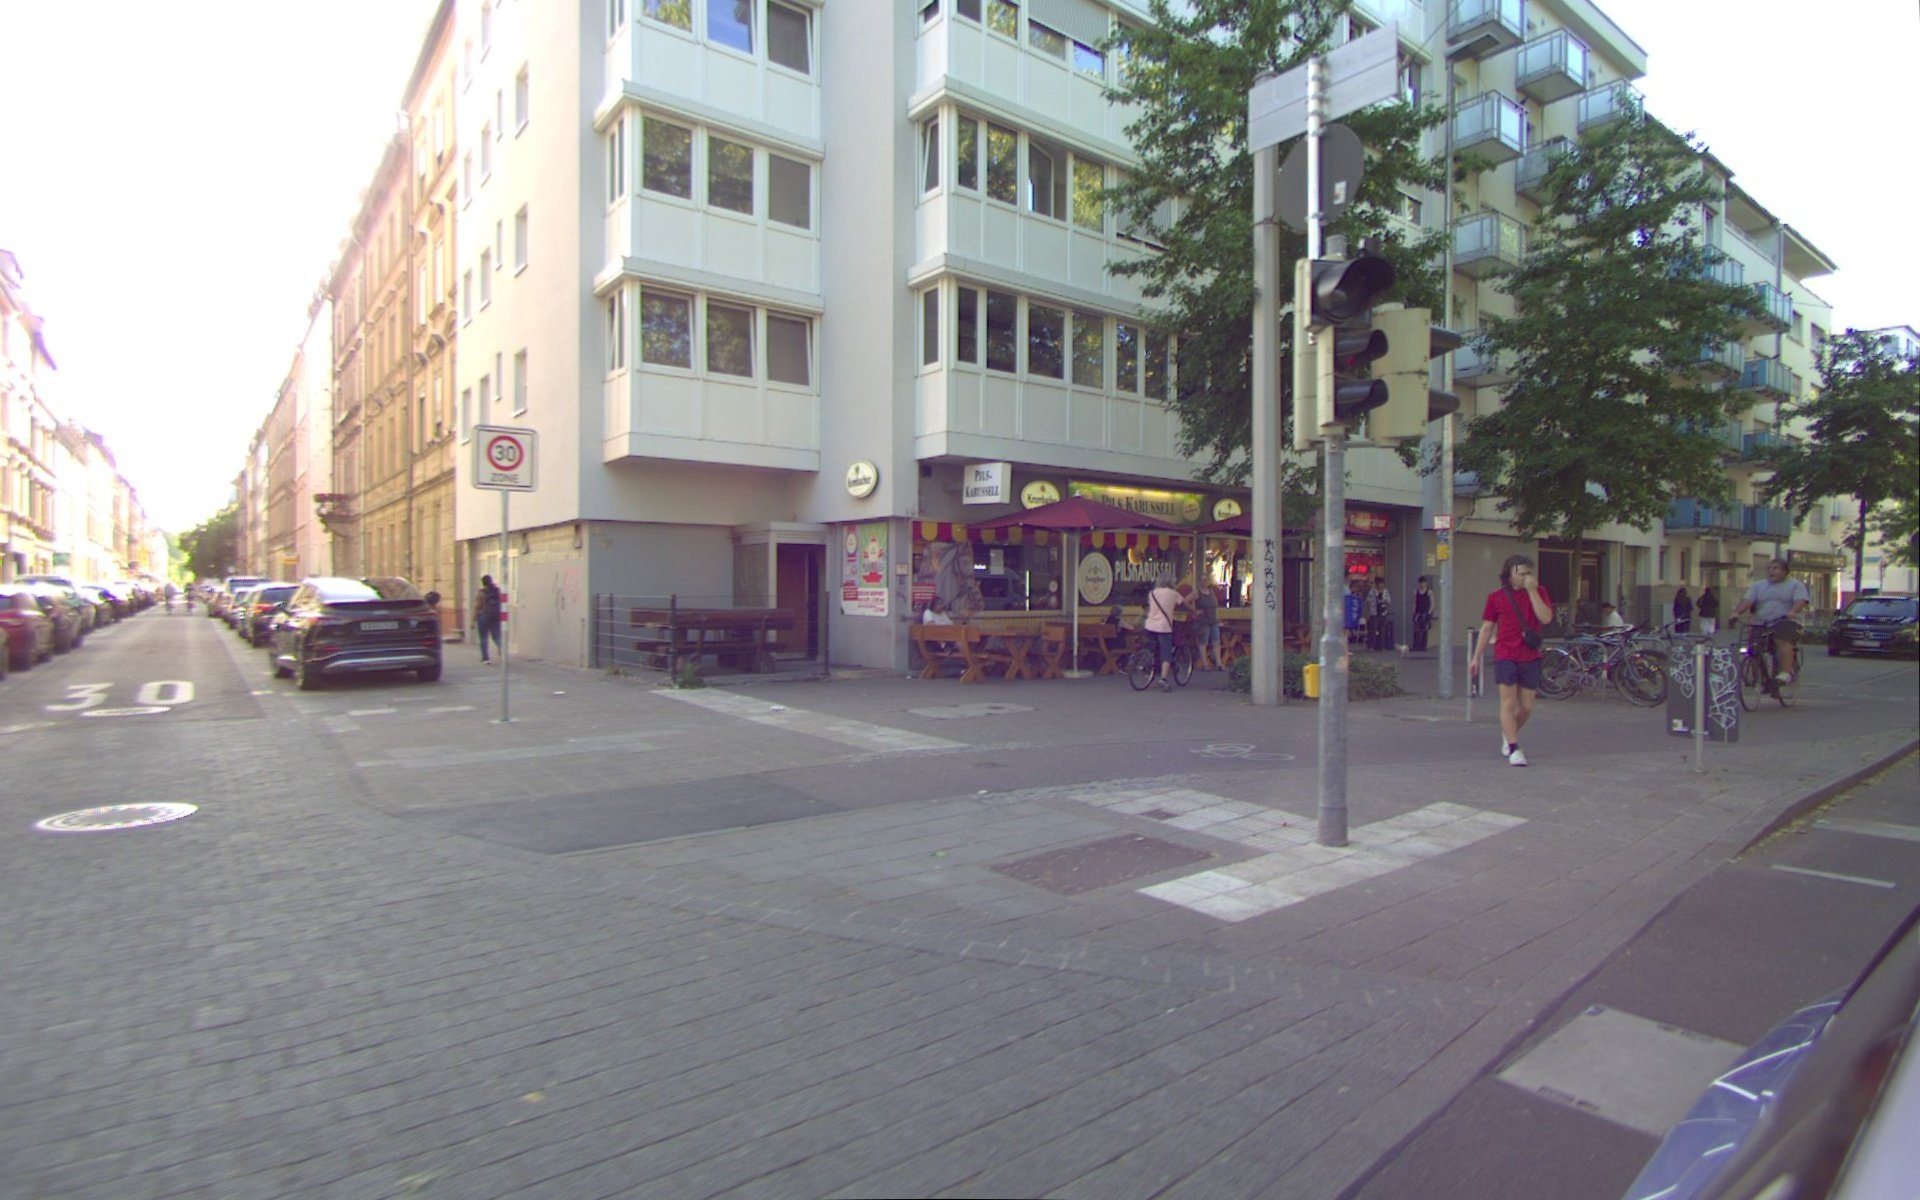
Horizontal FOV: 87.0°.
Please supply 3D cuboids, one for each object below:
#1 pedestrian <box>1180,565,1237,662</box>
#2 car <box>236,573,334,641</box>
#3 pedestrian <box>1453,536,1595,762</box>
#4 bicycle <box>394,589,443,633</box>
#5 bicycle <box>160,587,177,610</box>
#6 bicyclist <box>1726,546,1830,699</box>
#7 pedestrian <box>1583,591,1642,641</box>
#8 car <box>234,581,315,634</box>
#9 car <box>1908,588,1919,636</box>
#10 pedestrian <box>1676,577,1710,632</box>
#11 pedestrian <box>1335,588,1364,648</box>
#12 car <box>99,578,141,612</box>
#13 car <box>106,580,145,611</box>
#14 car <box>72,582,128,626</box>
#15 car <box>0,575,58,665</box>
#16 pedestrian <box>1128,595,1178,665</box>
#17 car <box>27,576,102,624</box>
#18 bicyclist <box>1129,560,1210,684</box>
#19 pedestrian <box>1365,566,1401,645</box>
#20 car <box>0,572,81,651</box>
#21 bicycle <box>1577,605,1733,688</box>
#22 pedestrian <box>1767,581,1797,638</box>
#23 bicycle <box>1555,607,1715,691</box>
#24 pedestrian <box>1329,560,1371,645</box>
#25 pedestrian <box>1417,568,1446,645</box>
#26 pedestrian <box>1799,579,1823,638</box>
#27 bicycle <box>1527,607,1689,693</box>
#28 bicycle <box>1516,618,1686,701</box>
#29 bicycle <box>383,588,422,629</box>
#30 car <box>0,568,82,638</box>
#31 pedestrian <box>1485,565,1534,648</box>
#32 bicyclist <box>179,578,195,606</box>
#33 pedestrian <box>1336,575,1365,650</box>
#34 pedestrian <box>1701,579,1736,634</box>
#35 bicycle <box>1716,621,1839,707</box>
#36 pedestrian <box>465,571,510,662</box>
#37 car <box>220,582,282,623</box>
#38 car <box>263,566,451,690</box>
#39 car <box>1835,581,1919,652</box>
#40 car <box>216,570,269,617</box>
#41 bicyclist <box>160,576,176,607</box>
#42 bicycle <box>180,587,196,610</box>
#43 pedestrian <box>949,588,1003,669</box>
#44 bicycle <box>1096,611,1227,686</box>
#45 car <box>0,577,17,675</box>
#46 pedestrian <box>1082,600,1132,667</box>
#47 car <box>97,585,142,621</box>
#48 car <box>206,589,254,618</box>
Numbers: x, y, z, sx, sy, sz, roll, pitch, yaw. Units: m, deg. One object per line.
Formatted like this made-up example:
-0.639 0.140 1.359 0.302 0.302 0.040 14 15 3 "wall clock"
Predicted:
4.431 0.237 18.072 0.665 1.680 0.816 -1 0 -14 "pedestrian"
-17.160 0.126 25.749 1.927 1.575 4.001 -1 1 -34 "car"
4.748 0.387 8.603 0.867 1.780 1.041 -1 0 20 "pedestrian"
-14.417 0.286 26.926 0.756 1.134 2.387 -1 0 -38 "bicycle"
-43.684 -0.065 55.851 0.697 1.248 2.319 -1 0 -38 "bicycle"
10.387 0.264 12.846 1.079 1.854 0.769 -1 0 -38 "bicyclist"
14.048 0.341 21.799 0.996 1.040 0.652 -1 0 39 "pedestrian"
-20.075 0.209 29.701 1.829 1.436 4.000 -1 0 -34 "car"
32.430 0.404 33.100 3.821 1.500 1.626 0 3 -41 "car"
23.148 0.124 31.953 0.918 1.698 0.597 -1 3 -40 "pedestrian"
8.652 0.394 22.483 0.502 1.292 0.623 -1 0 15 "pedestrian"
-53.246 -0.309 64.226 1.964 2.039 3.995 -1 0 -39 "car"
-56.390 -0.270 68.439 1.964 2.039 3.995 -1 0 -39 "car"
-42.286 0.194 49.808 1.964 2.039 3.995 -1 0 -39 "car"
-17.889 0.360 18.646 1.677 1.528 3.995 -1 0 -39 "car"
3.374 0.521 17.703 0.512 1.190 0.660 -1 0 -40 "pedestrian"
-32.981 0.002 37.357 1.860 1.661 3.995 -1 0 -39 "car"
3.054 0.300 14.761 0.947 1.739 0.679 -1 0 -36 "bicyclist"
9.941 0.126 23.818 0.621 1.828 0.526 -1 0 5 "pedestrian"
-21.155 0.258 22.852 1.803 1.643 4.068 -1 0 -39 "car"
10.179 0.650 14.879 0.516 1.114 1.820 -1 1 -38 "bicycle"
27.299 0.300 33.595 0.530 1.875 0.663 0 0 -39 "pedestrian"
9.529 0.672 14.348 1.815 1.114 0.473 -1 0 45 "bicycle"
9.166 0.053 23.767 0.776 1.979 0.508 -1 0 -29 "pedestrian"
11.211 0.153 24.060 0.480 1.819 0.432 -1 -1 -39 "pedestrian"
27.694 0.275 32.927 0.652 1.875 0.476 0 0 -41 "pedestrian"
8.919 0.660 13.990 1.815 1.114 0.490 -1 0 45 "bicycle"
8.364 0.745 13.285 0.473 1.007 1.819 -1 0 -40 "bicycle"
-16.004 0.232 29.038 0.606 1.134 2.387 -1 0 -38 "bicycle"
-25.973 0.090 28.566 1.692 1.839 3.559 -1 0 -40 "car"
12.198 0.139 22.464 0.977 1.807 0.591 -1 0 -40 "pedestrian"
-43.167 -0.436 56.520 0.669 1.553 0.795 -1 0 -39 "bicyclist"
8.628 0.273 22.375 0.500 1.649 0.516 -1 0 15 "pedestrian"
23.574 0.192 31.439 0.854 1.658 0.643 0 2 -40 "pedestrian"
10.370 0.771 12.822 1.904 0.949 0.790 -1 0 -38 "bicycle"
-8.443 0.282 18.080 0.632 1.581 0.553 -2 0 -34 "pedestrian"
-26.386 0.085 37.749 1.761 1.436 4.000 -1 0 -34 "car"
-9.423 0.352 15.639 1.932 1.612 4.258 -2 1 -38 "car"
24.144 0.365 25.943 4.251 1.607 1.764 -1 4 -39 "car"
-31.079 -0.270 43.923 1.706 1.971 4.227 -1 0 -34 "car"
-43.776 -0.455 55.954 0.669 1.685 0.795 -1 0 -39 "bicyclist"
-43.044 -0.077 56.393 0.669 1.248 2.292 -1 0 -38 "bicycle"
0.273 0.457 16.806 0.702 1.303 0.537 -1 0 -37 "pedestrian"
2.943 0.675 14.684 1.984 0.975 0.679 -1 0 -36 "bicycle"
-14.920 0.409 14.244 1.836 1.496 4.599 2 0 -37 "car"
2.479 0.556 17.121 0.512 1.092 0.643 -1 0 -40 "pedestrian"
-49.990 0.193 60.238 1.964 2.039 3.995 -1 0 -39 "car"
-37.368 0.170 51.896 1.835 1.436 4.000 -1 0 -34 "car"
